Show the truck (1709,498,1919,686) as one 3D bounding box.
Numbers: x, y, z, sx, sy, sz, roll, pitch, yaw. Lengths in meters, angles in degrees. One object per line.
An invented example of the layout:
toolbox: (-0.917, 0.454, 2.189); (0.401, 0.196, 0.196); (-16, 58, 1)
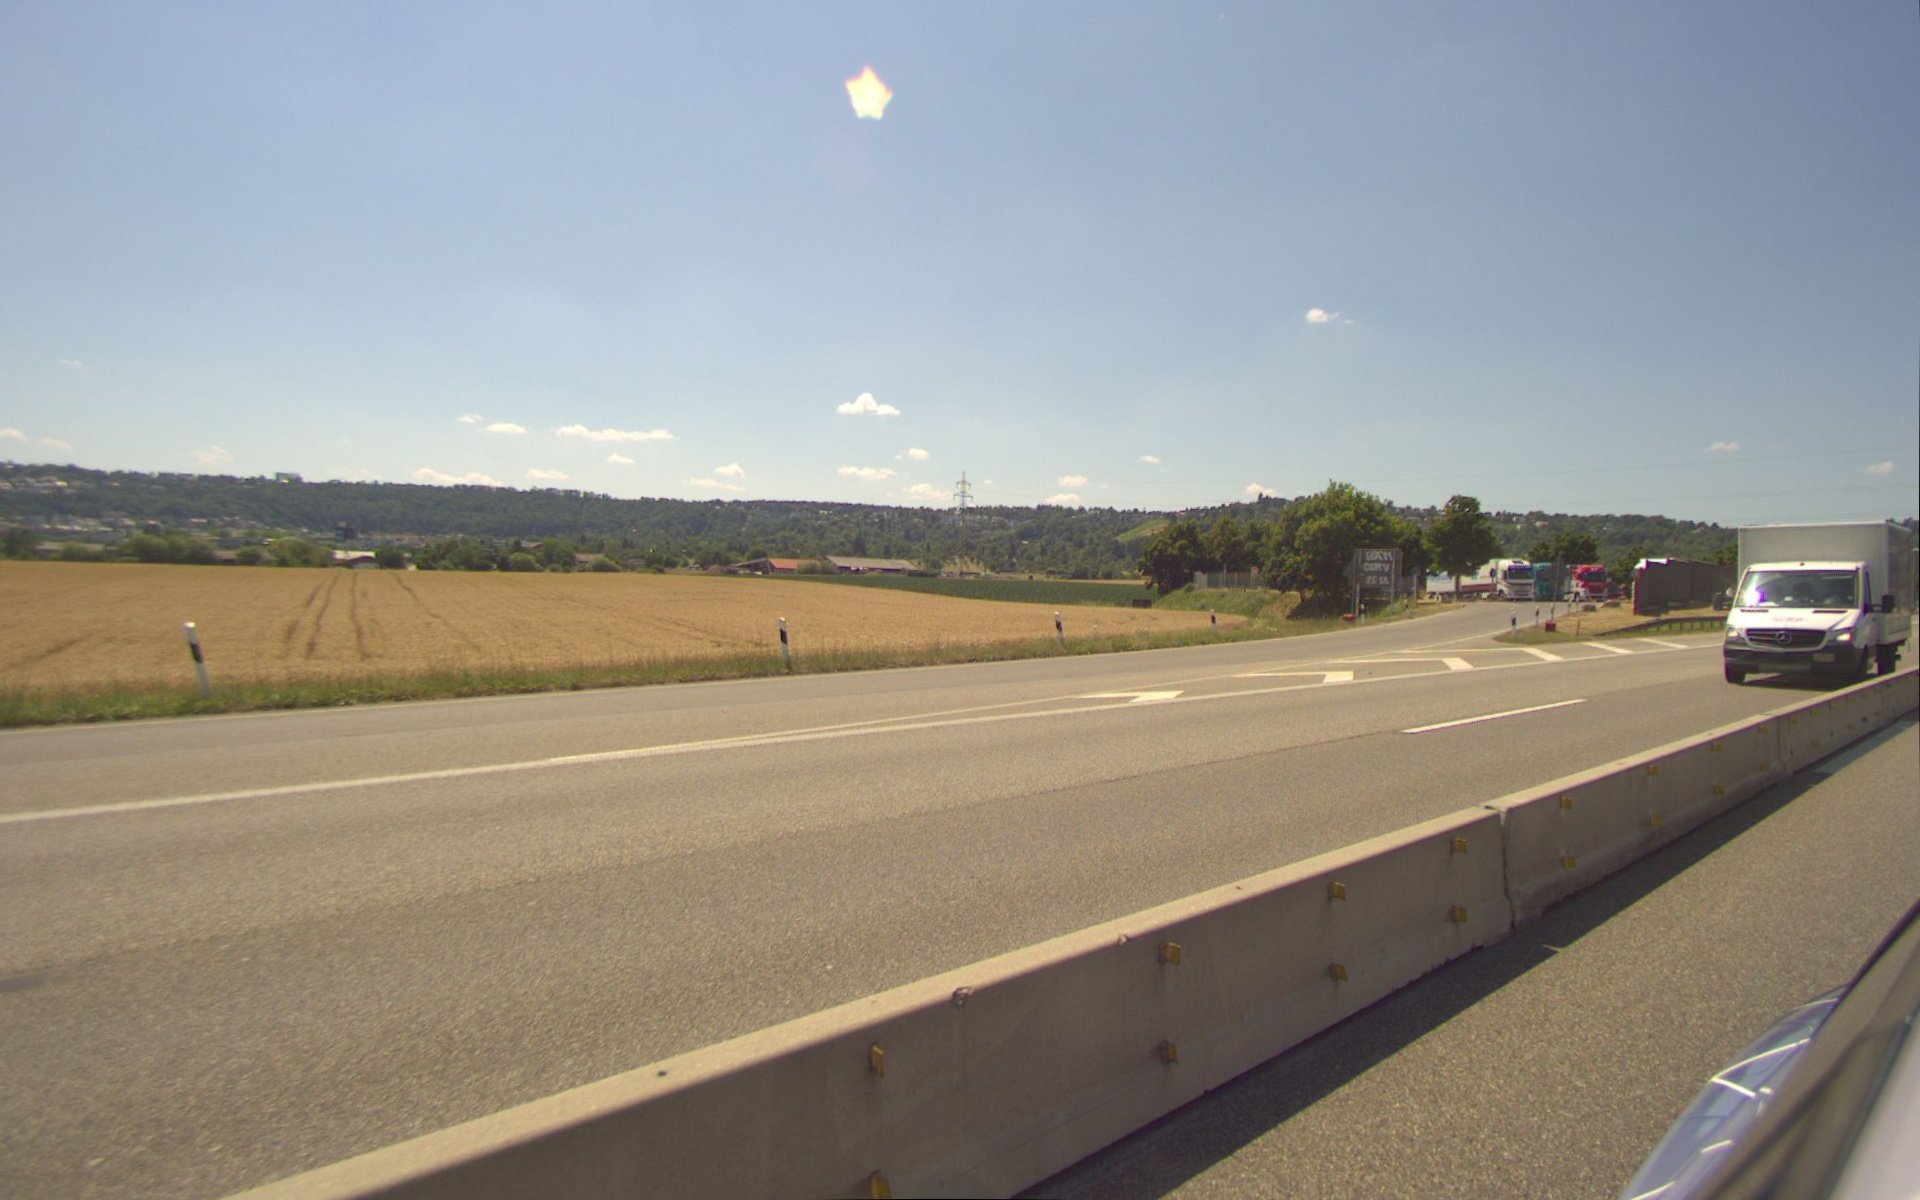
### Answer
truck: (16.932, -0.092, 19.756); (6.632, 3.107, 2.325); (1, -1, -41)
